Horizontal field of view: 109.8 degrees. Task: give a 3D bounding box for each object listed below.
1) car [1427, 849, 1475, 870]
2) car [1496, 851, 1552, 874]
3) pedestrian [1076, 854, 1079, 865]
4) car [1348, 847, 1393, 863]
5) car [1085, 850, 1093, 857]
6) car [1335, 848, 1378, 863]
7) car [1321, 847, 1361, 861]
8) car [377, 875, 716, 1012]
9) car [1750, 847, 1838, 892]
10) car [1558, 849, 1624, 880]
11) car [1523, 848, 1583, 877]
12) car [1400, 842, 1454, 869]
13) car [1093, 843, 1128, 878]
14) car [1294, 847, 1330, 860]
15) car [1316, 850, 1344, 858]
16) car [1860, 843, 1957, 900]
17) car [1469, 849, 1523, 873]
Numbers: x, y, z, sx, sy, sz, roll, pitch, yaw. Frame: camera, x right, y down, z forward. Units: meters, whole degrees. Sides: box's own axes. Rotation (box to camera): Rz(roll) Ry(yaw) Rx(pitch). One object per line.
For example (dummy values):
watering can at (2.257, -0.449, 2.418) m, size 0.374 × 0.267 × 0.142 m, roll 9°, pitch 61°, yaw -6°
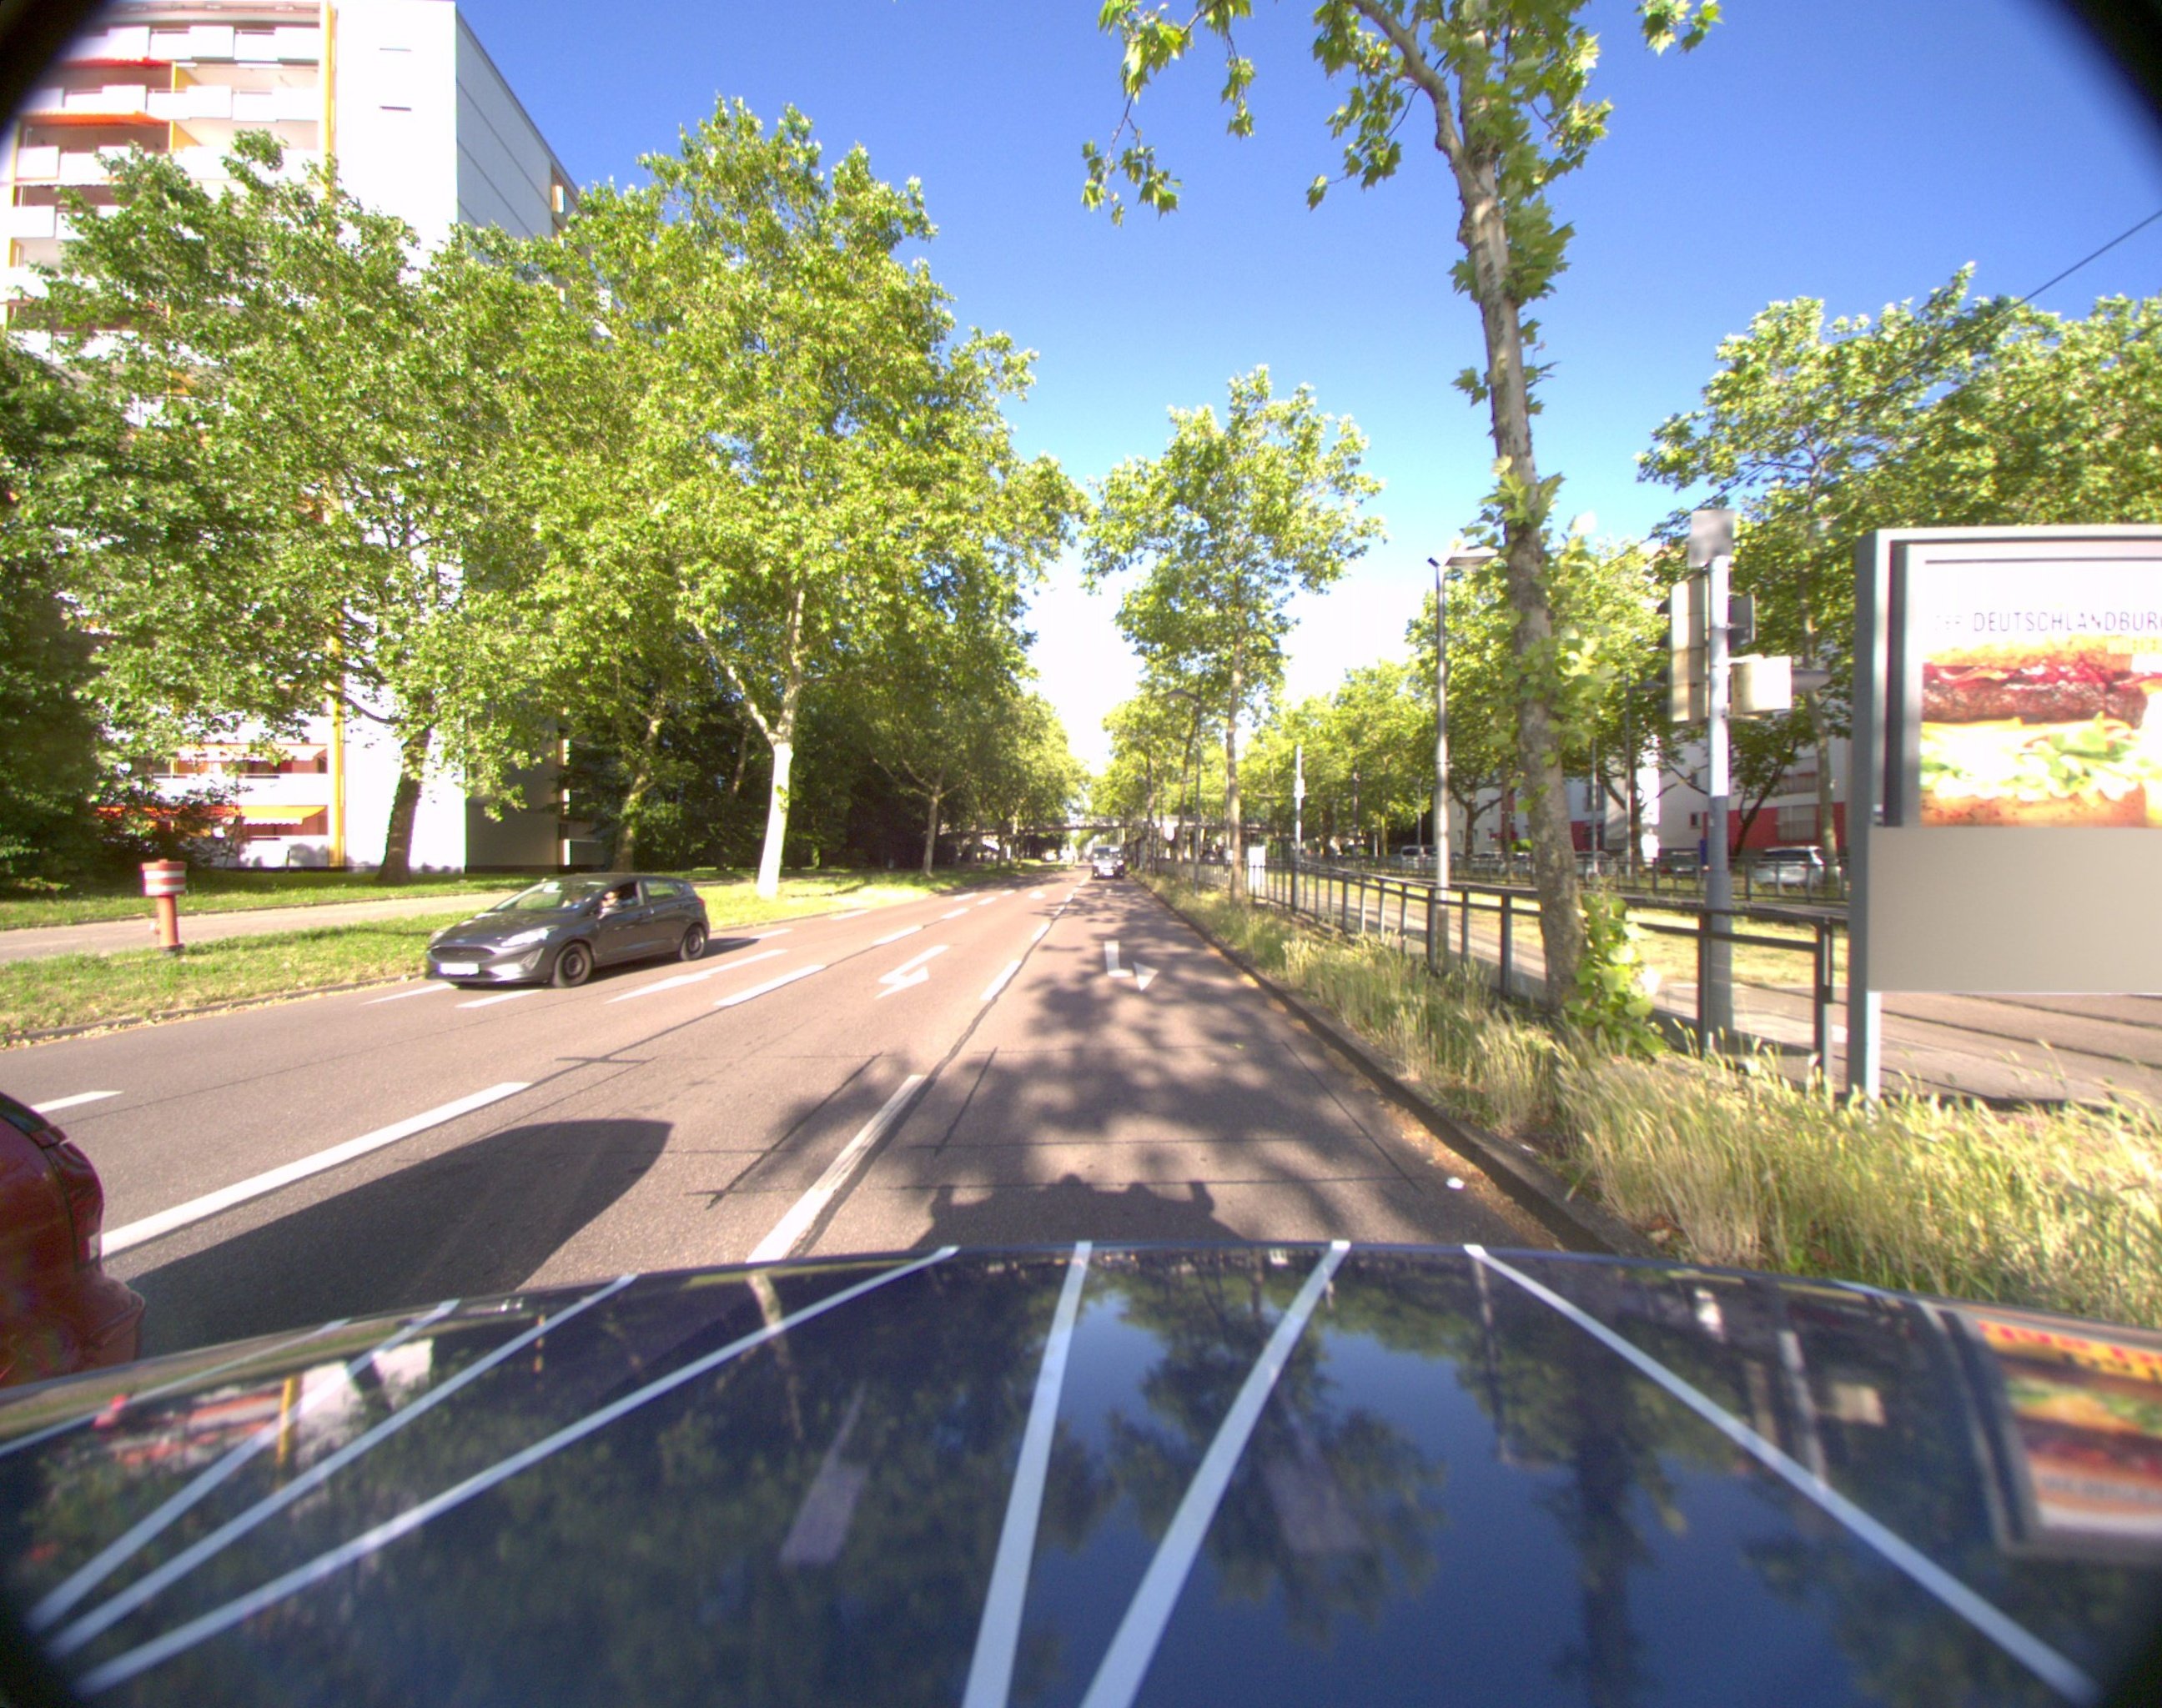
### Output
car at (26.241, 0.349, 53.878) m, size 3.689 × 1.388 × 1.645 m, roll -1°, pitch 1°, yaw -39°
car at (26.196, 0.483, 44.940) m, size 3.689 × 1.234 × 1.645 m, roll -1°, pitch 1°, yaw -39°
pedestrian at (-0.512, 0.766, 102.822) m, size 0.398 × 1.454 × 0.417 m, roll -1°, pitch 1°, yaw -3°
car at (26.778, 0.111, 70.264) m, size 4.376 × 1.367 × 1.919 m, roll -1°, pitch 1°, yaw -39°
car at (2.203, -0.100, 209.300) m, size 2.040 × 1.995 × 5.113 m, roll -1°, pitch 0°, yaw 1°
car at (26.584, 0.101, 73.258) m, size 4.376 × 1.367 × 1.919 m, roll -1°, pitch 1°, yaw -39°
car at (27.238, 0.026, 79.555) m, size 4.376 × 1.367 × 1.919 m, roll -1°, pitch 1°, yaw -39°
car at (-7.259, 1.115, 10.894) m, size 1.749 × 1.460 × 3.894 m, roll -1°, pitch 0°, yaw 8°
car at (25.052, 0.496, 26.666) m, size 3.689 × 1.425 × 1.683 m, roll -1°, pitch 1°, yaw -38°
car at (25.326, 0.502, 37.670) m, size 3.689 × 1.384 × 1.645 m, roll -1°, pitch 1°, yaw -38°
car at (25.807, 0.431, 41.498) m, size 3.689 × 1.440 × 1.645 m, roll -1°, pitch 1°, yaw -39°
car at (25.957, 0.087, 56.972) m, size 4.376 × 1.873 × 1.919 m, roll -1°, pitch 1°, yaw -39°
car at (1.851, 0.375, 48.958) m, size 2.040 × 2.102 × 5.113 m, roll -1°, pitch 0°, yaw 1°
car at (27.197, -0.058, 89.408) m, size 4.376 × 1.367 × 1.919 m, roll -1°, pitch 1°, yaw -39°
car at (40.231, 0.008, 122.693) m, size 4.021 × 1.335 × 1.623 m, roll -1°, pitch 1°, yaw 7°
car at (25.014, 0.463, 22.940) m, size 3.689 × 1.558 × 1.683 m, roll -1°, pitch 1°, yaw -38°
car at (25.953, 0.417, 47.475) m, size 3.689 × 1.440 × 1.645 m, roll -1°, pitch 1°, yaw -39°
